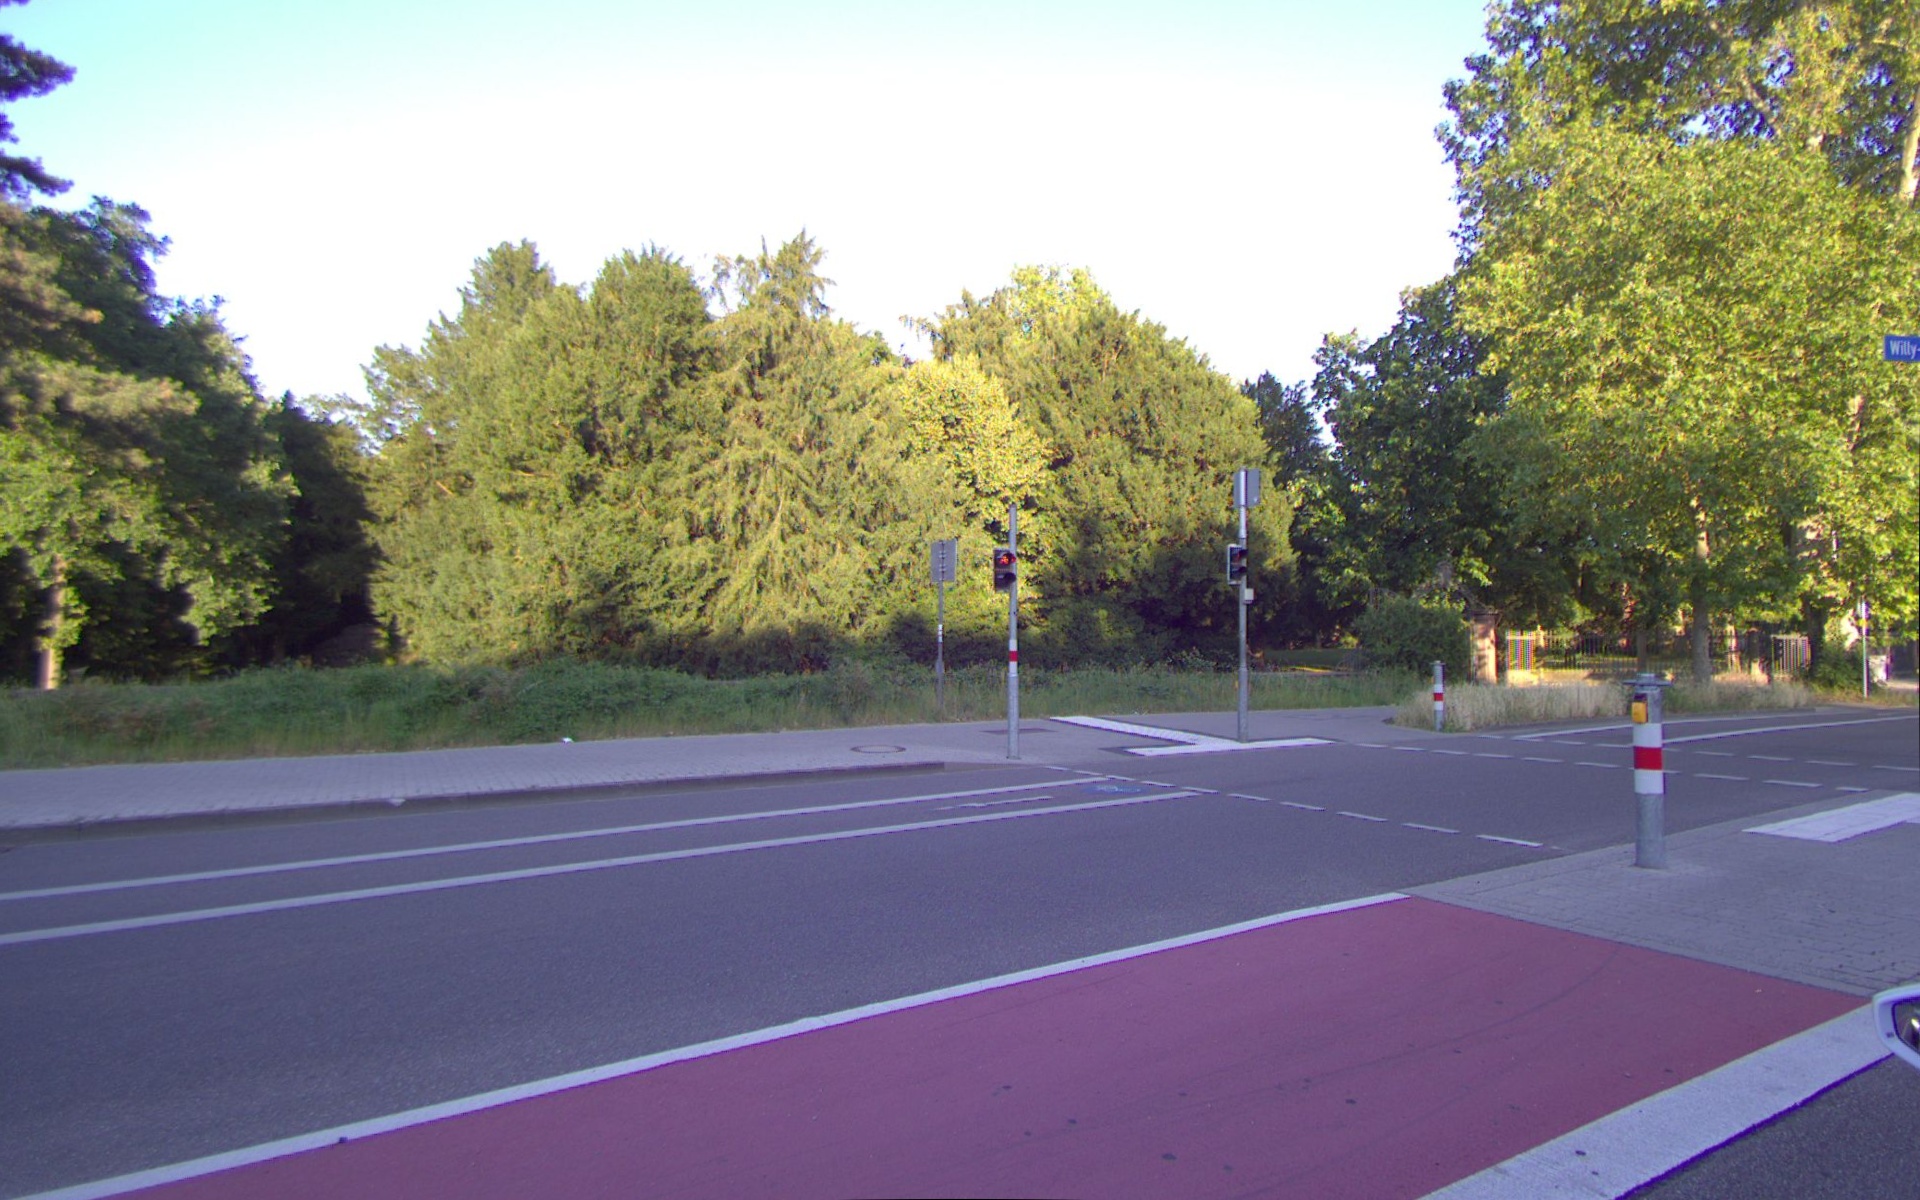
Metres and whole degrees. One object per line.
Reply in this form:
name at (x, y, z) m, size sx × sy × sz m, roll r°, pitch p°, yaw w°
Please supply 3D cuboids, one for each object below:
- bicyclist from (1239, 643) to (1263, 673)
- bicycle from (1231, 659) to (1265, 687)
bicyclist at (14.123, 2.814, 48.750) m, size 0.778 × 1.445 × 0.890 m, roll 1°, pitch -2°, yaw -13°
bicycle at (14.046, 3.561, 49.082) m, size 0.778 × 1.273 × 1.976 m, roll 1°, pitch -2°, yaw -11°
